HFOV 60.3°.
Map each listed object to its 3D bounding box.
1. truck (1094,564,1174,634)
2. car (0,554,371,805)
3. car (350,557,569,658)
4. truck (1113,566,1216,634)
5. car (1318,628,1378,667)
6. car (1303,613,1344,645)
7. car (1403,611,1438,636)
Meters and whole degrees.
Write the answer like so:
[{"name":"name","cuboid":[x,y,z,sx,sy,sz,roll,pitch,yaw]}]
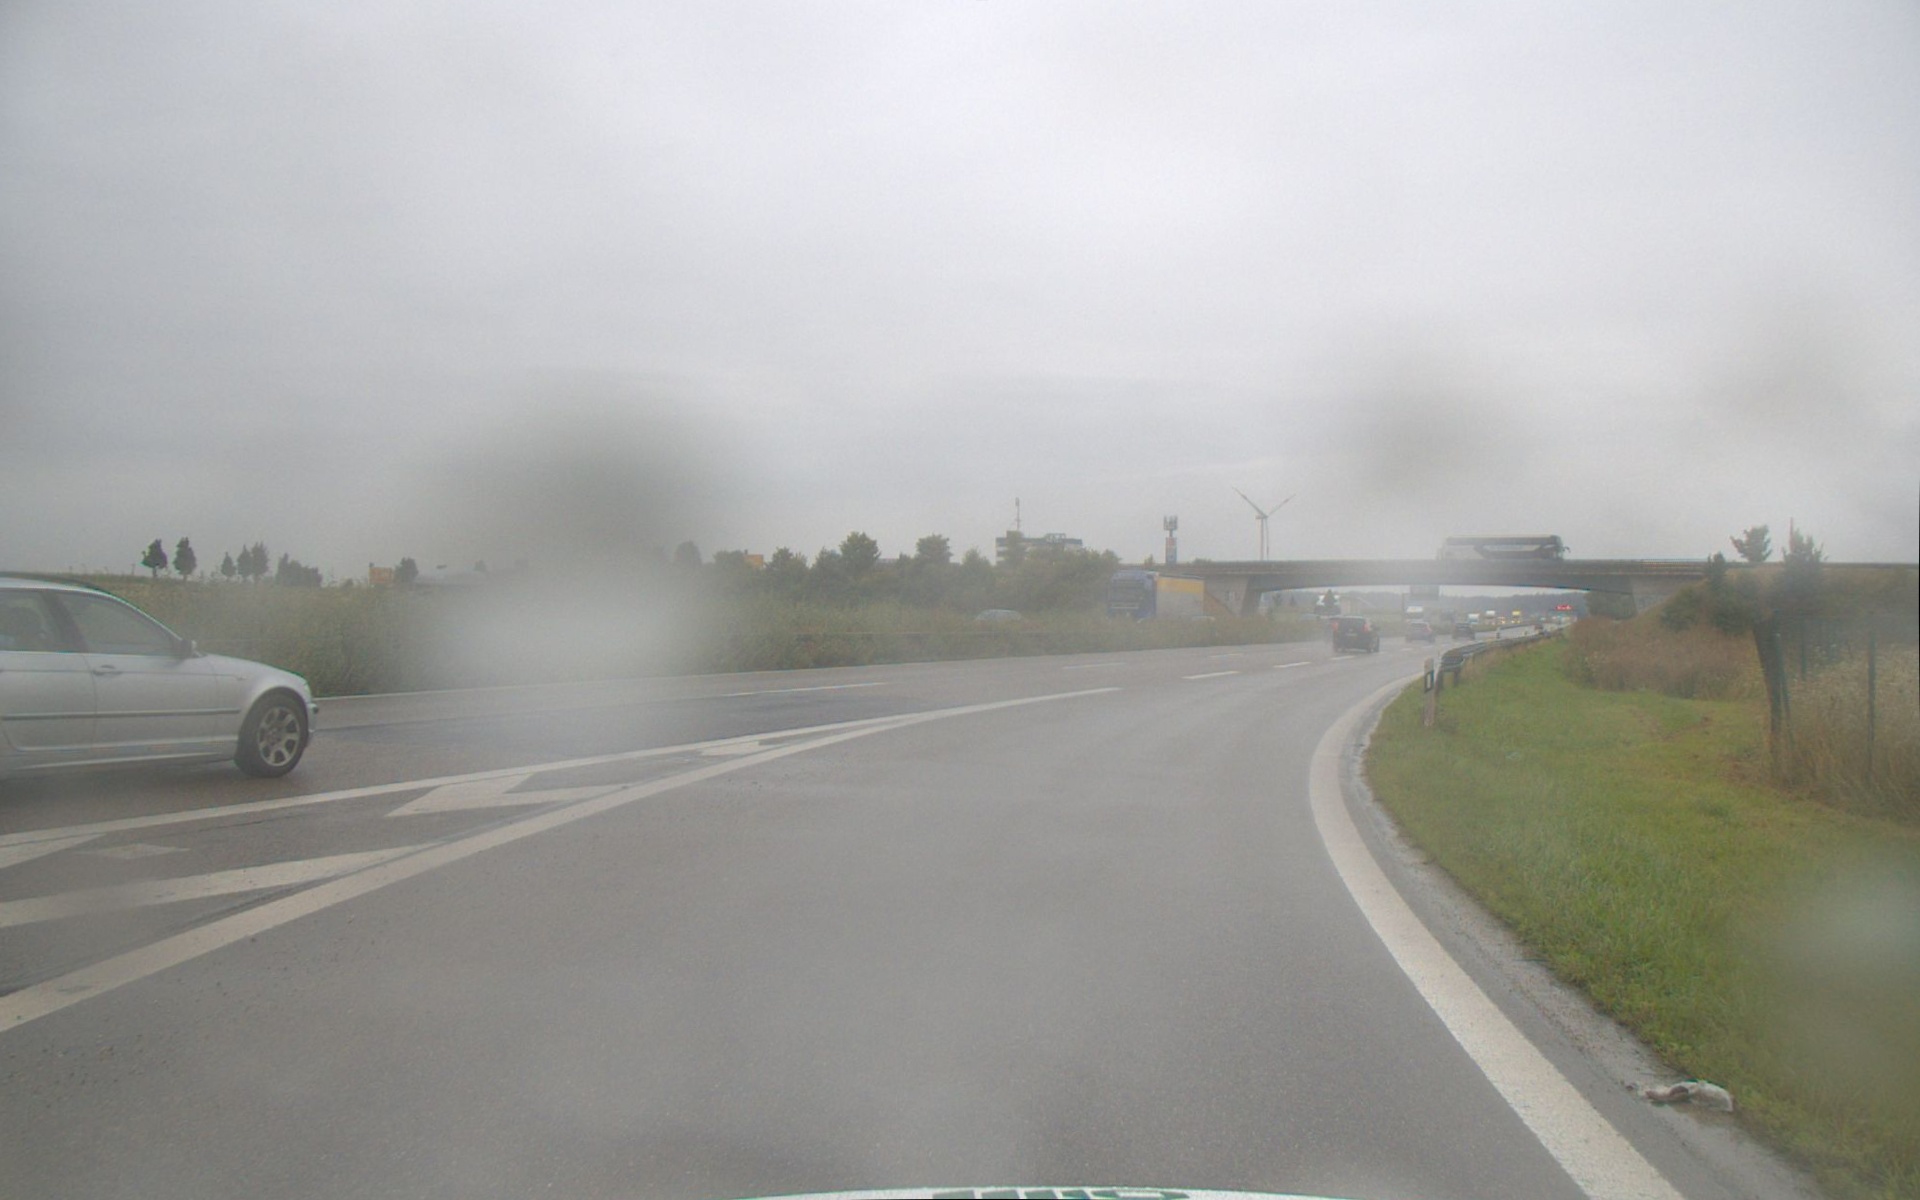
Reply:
[{"name":"truck","cuboid":[10.814,-0.016,102.254,3.129,4.035,6.663,3,0,20]},{"name":"car","cuboid":[-6.352,0.484,11.190,1.835,1.514,4.797,1,-1,19]},{"name":"car","cuboid":[-10.454,0.176,34.926,2.061,1.908,4.532,3,0,20]},{"name":"truck","cuboid":[13.871,0.115,110.523,3.129,4.035,15.319,3,0,20]},{"name":"car","cuboid":[17.833,2.175,75.924,2.101,1.665,4.595,2,-1,20]},{"name":"car","cuboid":[22.705,1.797,103.235,1.952,1.780,4.001,-1,1,20]},{"name":"car","cuboid":[32.147,1.669,115.430,2.011,1.665,4.349,2,0,20]}]
